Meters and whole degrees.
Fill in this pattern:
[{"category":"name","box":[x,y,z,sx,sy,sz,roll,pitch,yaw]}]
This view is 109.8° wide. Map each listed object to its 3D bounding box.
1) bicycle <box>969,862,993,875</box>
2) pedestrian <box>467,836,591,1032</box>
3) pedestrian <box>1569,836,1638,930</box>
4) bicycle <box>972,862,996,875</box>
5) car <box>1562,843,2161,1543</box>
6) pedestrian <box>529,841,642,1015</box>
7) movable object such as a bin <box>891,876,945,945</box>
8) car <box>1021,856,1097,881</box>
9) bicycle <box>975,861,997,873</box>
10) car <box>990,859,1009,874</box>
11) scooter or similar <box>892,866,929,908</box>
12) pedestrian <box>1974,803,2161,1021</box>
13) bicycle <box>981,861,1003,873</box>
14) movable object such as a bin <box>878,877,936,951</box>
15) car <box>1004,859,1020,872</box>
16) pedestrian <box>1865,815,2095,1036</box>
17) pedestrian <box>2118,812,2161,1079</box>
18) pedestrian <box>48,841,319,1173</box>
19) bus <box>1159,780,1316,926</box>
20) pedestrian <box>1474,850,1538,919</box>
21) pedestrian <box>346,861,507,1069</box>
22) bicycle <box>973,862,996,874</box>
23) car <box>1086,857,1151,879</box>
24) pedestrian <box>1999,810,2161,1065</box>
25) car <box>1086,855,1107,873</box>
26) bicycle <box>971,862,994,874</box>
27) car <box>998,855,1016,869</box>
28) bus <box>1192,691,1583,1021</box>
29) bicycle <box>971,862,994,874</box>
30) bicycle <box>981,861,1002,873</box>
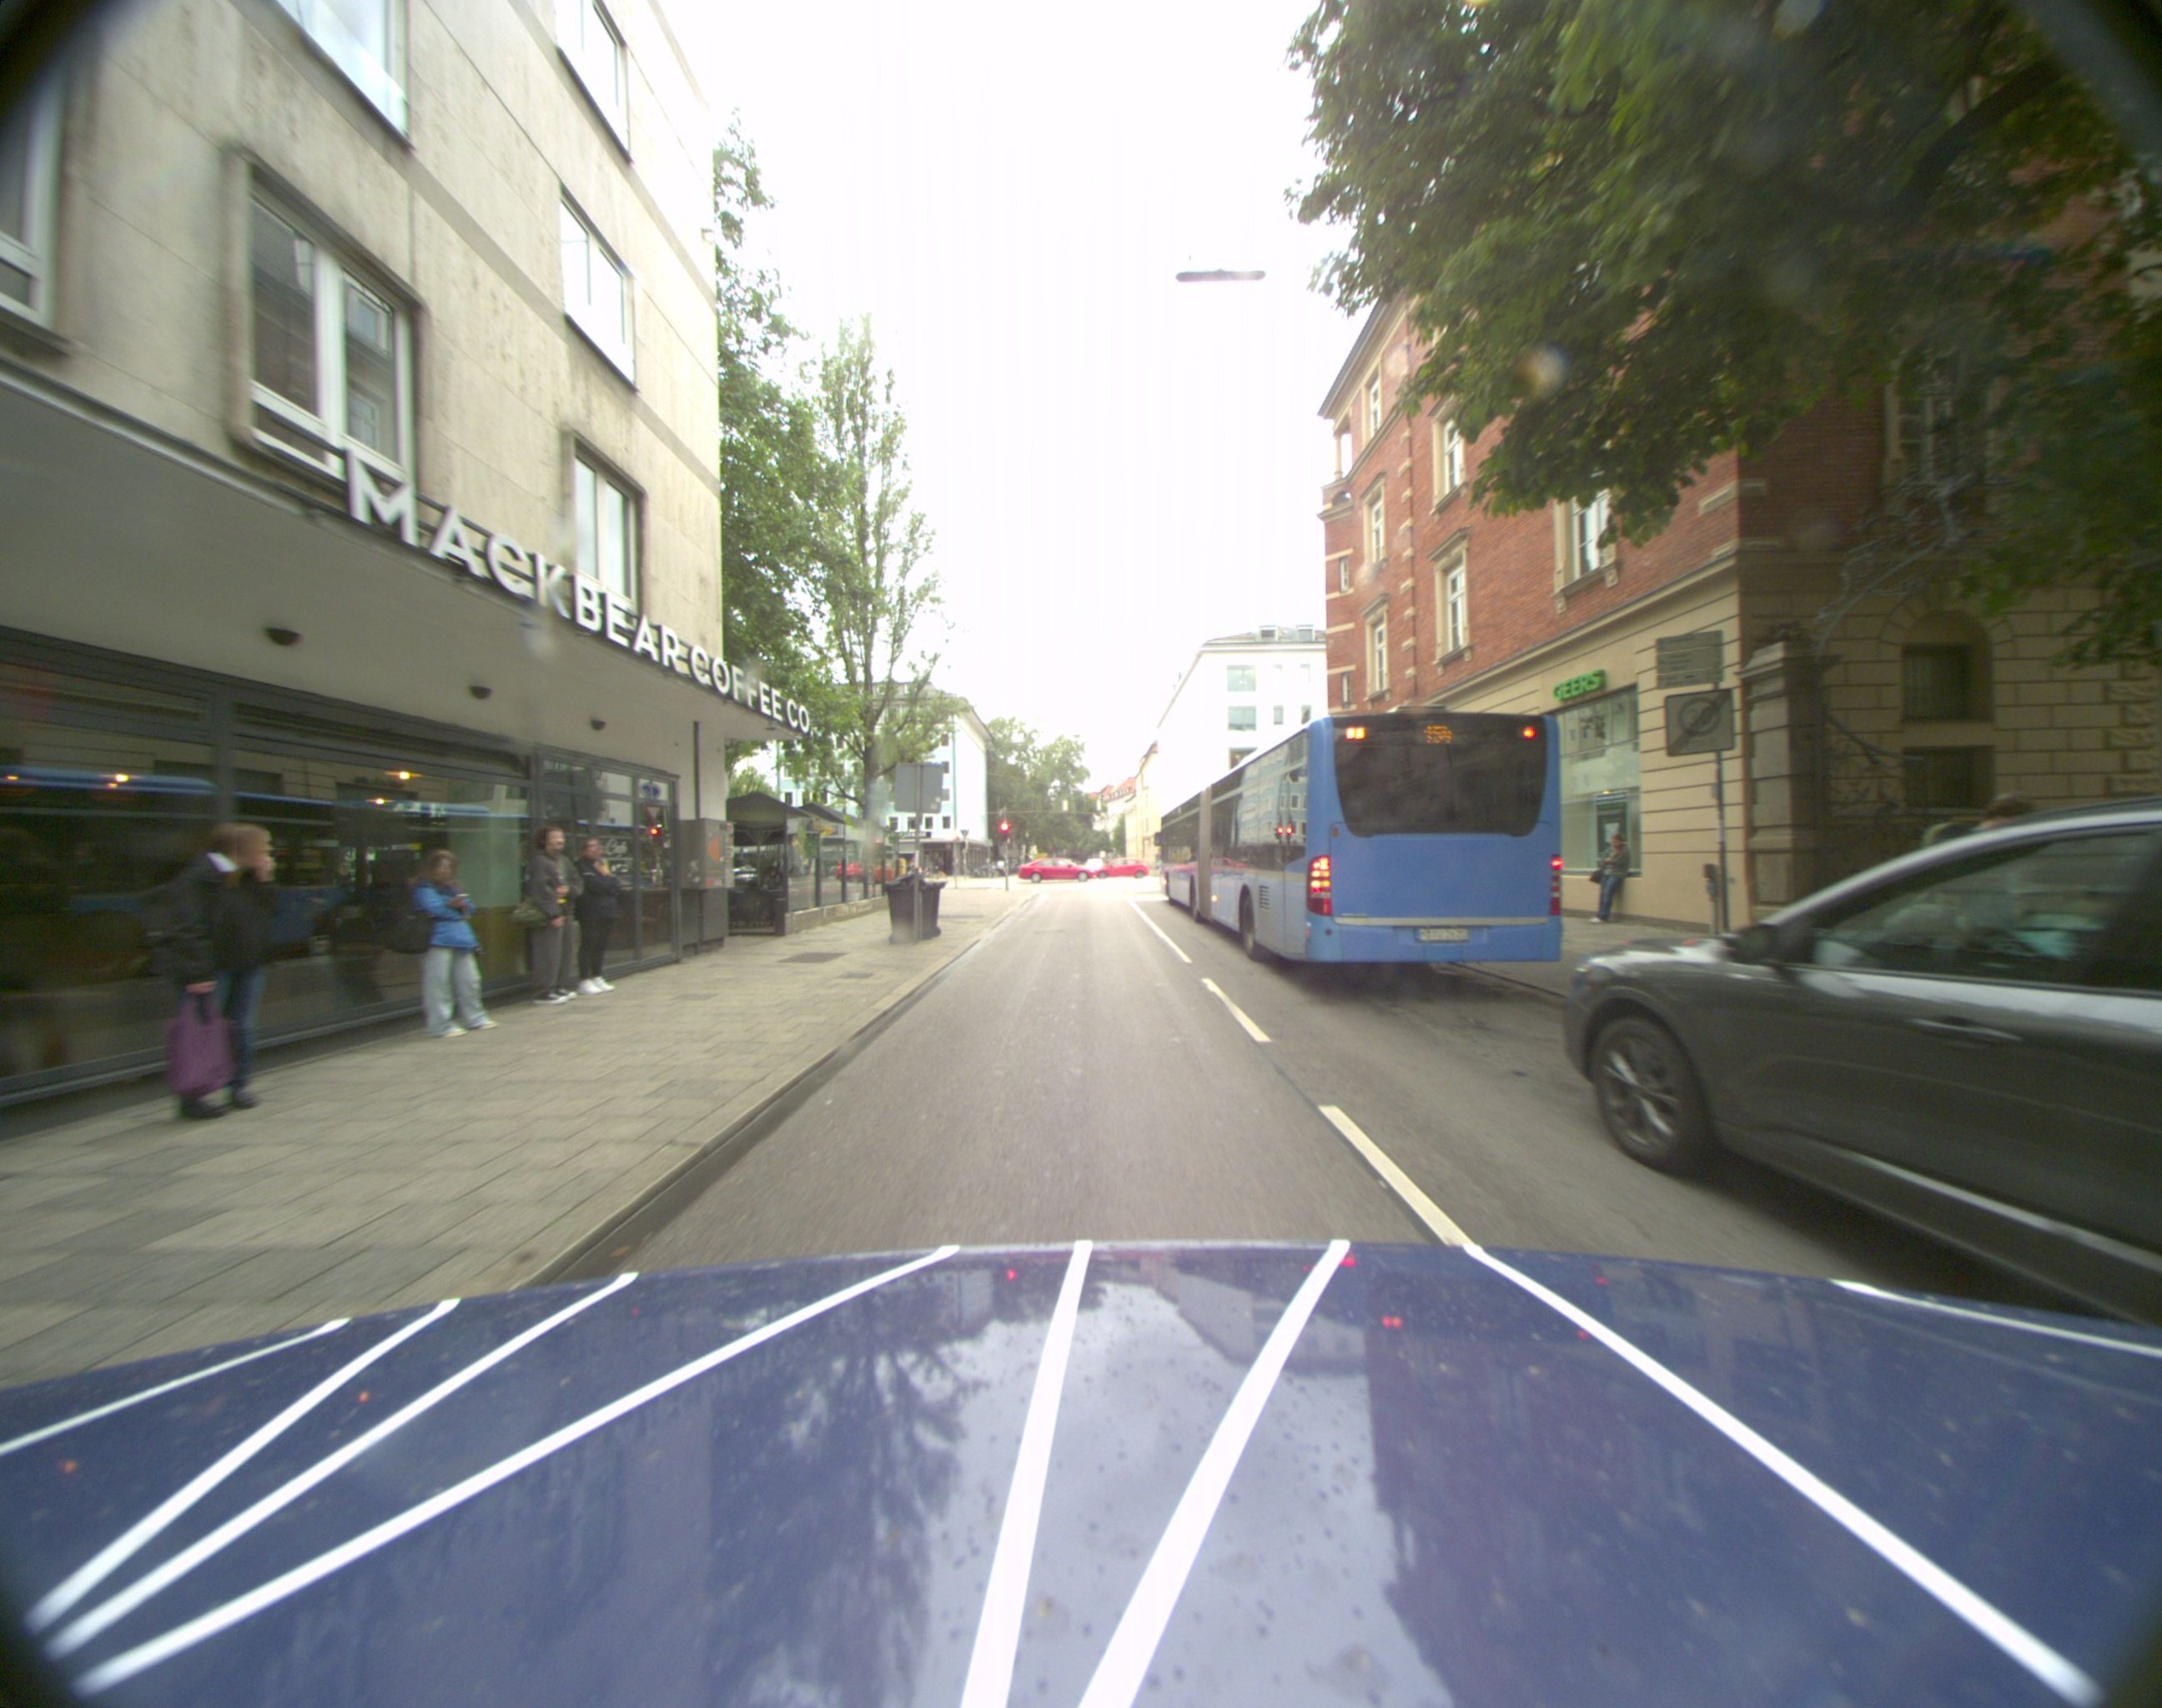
[{"category":"bicycle","box":[-9.138,1.337,69.590,2.124,1.110,0.738,-1,1,-9]},{"category":"pedestrian","box":[-5.330,0.739,7.376,0.659,1.812,0.696,-1,1,1]},{"category":"pedestrian","box":[8.793,0.467,12.805,0.626,1.529,0.754,-1,1,-1]},{"category":"bicycle","box":[-9.039,1.342,70.689,2.124,1.110,0.738,-1,1,-9]},{"category":"car","box":[3.410,0.787,1.880,1.772,1.635,4.273,-1,0,1]},{"category":"pedestrian","box":[-5.281,0.759,8.144,0.659,1.773,0.771,-1,1,1]},{"category":"movable object such as a bin","box":[-3.074,1.048,14.372,0.877,1.243,0.798,-1,1,-4]},{"category":"car","box":[-1.278,0.840,44.744,4.354,1.420,2.000,-1,0,1]},{"category":"bicycle","box":[-9.492,1.294,75.744,2.124,1.110,0.629,-1,1,-9]},{"category":"car","box":[-8.926,1.343,83.326,1.718,1.543,3.999,-1,0,-1]},{"category":"scooter or similar","box":[-5.282,1.018,23.658,0.563,1.234,1.445,-1,1,11]},{"category":"pedestrian","box":[8.529,0.459,6.595,0.784,1.735,0.877,-1,1,33]},{"category":"bicycle","box":[-9.034,1.295,76.922,2.124,1.110,0.629,-1,1,-9]},{"category":"movable object such as a bin","box":[-3.078,1.041,13.529,0.877,1.243,0.798,-1,1,-4]},{"category":"car","box":[-8.573,1.365,94.593,1.718,1.543,3.999,-1,0,-1]},{"category":"pedestrian","box":[7.574,0.566,6.457,0.875,1.735,0.910,-1,1,0]},{"category":"pedestrian","box":[7.460,0.589,4.710,0.910,1.735,0.847,-1,1,0]},{"category":"pedestrian","box":[-5.005,0.796,4.290,0.659,1.723,0.696,-1,1,1]},{"category":"bus","box":[3.786,-0.026,20.661,2.586,3.083,9.108,-1,0,2]},{"category":"pedestrian","box":[8.451,0.596,15.135,0.830,1.333,0.754,-1,1,-1]},{"category":"pedestrian","box":[-5.269,0.857,6.160,0.659,1.584,0.696,-1,1,1]},{"category":"bicycle","box":[-9.335,1.324,73.454,2.124,1.110,0.629,-1,1,-9]},{"category":"car","box":[2.560,0.922,52.421,4.355,1.420,2.000,-1,0,0]},{"category":"pedestrian","box":[7.636,0.564,5.567,0.875,1.735,0.786,-1,1,0]},{"category":"car","box":[1.458,0.957,72.529,1.927,1.608,4.000,-1,0,0]},{"category":"bicycle","box":[-9.289,1.340,71.660,2.124,1.110,0.629,-1,1,-9]},{"category":"car","box":[-8.592,0.948,88.474,1.718,1.543,3.999,-1,0,-1]},{"category":"bus","box":[3.547,0.020,11.636,2.586,3.083,8.923,-1,0,2]},{"category":"bicycle","box":[-9.367,1.327,72.426,2.124,1.110,0.629,-1,1,-9]},{"category":"bicycle","box":[-9.164,1.318,77.783,2.124,1.110,0.629,-1,1,-9]}]
